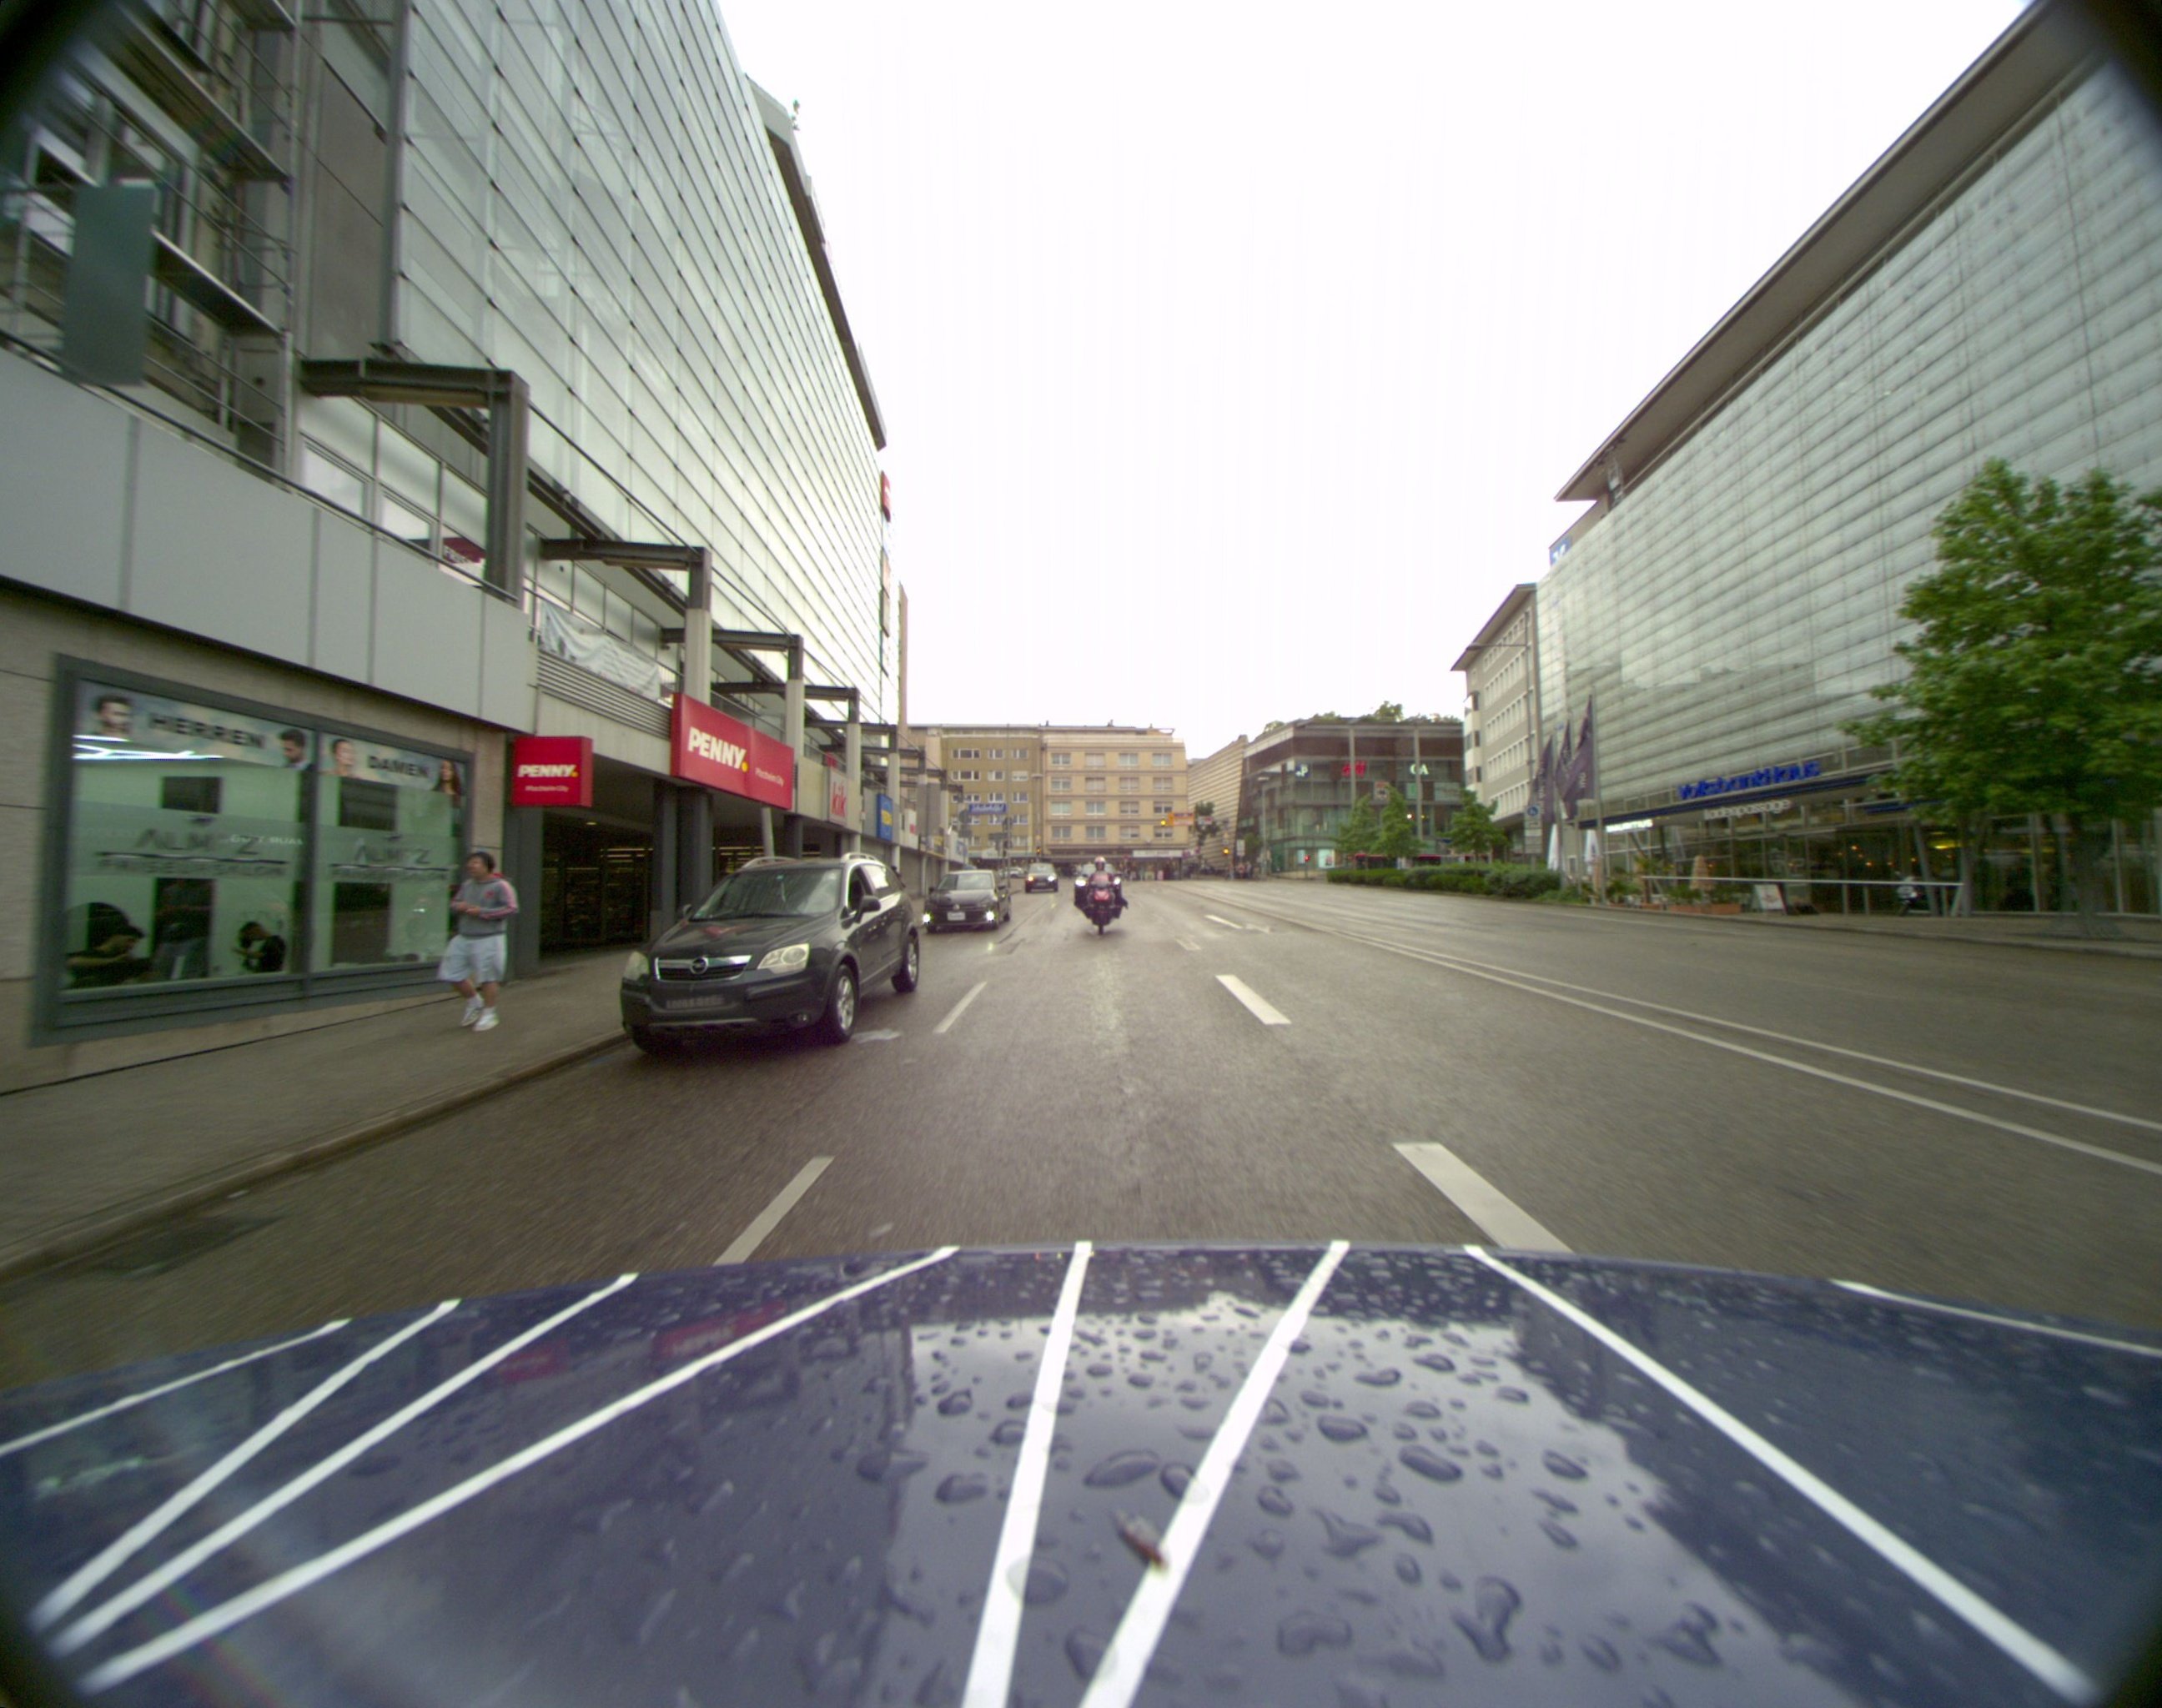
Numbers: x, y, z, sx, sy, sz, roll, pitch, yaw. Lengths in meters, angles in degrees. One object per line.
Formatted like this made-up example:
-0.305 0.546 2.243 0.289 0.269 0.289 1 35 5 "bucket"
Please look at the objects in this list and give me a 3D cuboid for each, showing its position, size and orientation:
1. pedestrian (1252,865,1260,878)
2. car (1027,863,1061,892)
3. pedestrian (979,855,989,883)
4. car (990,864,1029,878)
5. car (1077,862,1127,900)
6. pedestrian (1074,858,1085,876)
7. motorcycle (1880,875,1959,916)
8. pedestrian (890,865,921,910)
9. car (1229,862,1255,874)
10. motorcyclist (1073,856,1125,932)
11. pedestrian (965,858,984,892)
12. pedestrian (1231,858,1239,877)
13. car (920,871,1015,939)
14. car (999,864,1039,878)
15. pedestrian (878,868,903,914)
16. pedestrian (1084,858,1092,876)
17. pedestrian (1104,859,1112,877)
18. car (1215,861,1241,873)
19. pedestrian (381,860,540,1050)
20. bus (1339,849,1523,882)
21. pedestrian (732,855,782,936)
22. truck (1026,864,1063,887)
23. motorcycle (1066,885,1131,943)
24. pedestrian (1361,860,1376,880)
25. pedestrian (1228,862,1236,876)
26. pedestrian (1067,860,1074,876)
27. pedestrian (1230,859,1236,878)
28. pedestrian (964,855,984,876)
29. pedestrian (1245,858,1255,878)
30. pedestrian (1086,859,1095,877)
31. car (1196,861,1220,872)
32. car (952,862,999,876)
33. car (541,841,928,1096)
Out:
23.507 2.331 102.007 0.695 1.751 1.048 1 -2 -13 "pedestrian"
-2.096 1.295 42.935 1.872 1.538 4.103 0 -1 -3 "car"
-6.489 1.005 50.834 0.601 1.829 1.012 0 -1 -3 "pedestrian"
-8.363 1.956 89.287 4.398 1.541 1.853 -1 0 -4 "car"
0.849 1.149 32.484 1.998 1.482 4.736 0 -2 1 "car"
-0.129 1.244 70.984 0.914 1.662 0.982 0 0 3 "pedestrian"
26.590 1.309 24.118 1.550 1.288 0.769 -1 0 7 "motorcycle"
-5.723 1.088 24.848 0.773 1.458 0.704 0 0 8 "pedestrian"
21.371 1.895 101.180 1.806 1.537 4.292 0 0 -13 "car"
0.372 0.856 16.483 1.092 1.595 0.953 0 -1 0 "motorcyclist"
-5.519 1.090 39.260 0.837 1.712 0.618 0 0 8 "pedestrian"
13.904 1.217 68.764 0.638 1.679 0.784 0 0 6 "pedestrian"
-2.762 1.201 19.296 1.742 1.422 3.881 -4 -1 0 "car"
-6.933 1.897 85.156 4.089 1.543 1.848 1 -1 4 "car"
-5.807 1.121 23.197 0.639 1.368 0.704 0 0 -5 "pedestrian"
0.663 1.267 72.634 0.706 1.701 0.786 1 0 2 "pedestrian"
2.575 1.326 71.997 0.693 1.681 0.759 2 0 2 "pedestrian"
20.600 1.784 106.700 1.899 1.537 4.376 -2 0 -13 "car"
-5.928 0.914 7.305 0.837 1.712 0.830 0 0 8 "pedestrian"
37.196 1.249 81.160 18.466 3.300 2.930 0 -1 -1 "bus"
-7.006 0.881 16.452 0.816 1.705 0.672 0 -1 38 "pedestrian"
-2.634 1.482 53.575 1.856 1.532 3.996 -1 -1 -13 "truck"
0.376 1.254 16.425 1.313 1.128 2.186 1 -2 1 "motorcycle"
26.136 1.446 69.085 0.800 1.765 1.024 1 0 -9 "pedestrian"
13.929 1.402 69.997 0.588 1.331 0.631 0 0 -9 "pedestrian"
-0.998 1.319 70.415 0.560 1.479 0.707 1 0 2 "pedestrian"
13.898 1.324 69.430 0.501 1.658 0.571 0 -1 4 "pedestrian"
-8.135 0.884 57.808 1.061 1.522 1.024 4 -1 -38 "pedestrian"
15.091 1.213 67.719 0.617 1.768 0.832 0 0 -9 "pedestrian"
0.874 1.290 69.948 0.854 1.559 0.715 1 0 2 "pedestrian"
18.991 1.800 113.766 1.899 1.537 4.376 -2 0 -13 "car"
-10.685 1.573 77.409 4.629 1.407 1.798 0 -2 -4 "car"
-3.066 0.923 7.908 1.912 1.774 4.303 -5 -2 0 "car"
